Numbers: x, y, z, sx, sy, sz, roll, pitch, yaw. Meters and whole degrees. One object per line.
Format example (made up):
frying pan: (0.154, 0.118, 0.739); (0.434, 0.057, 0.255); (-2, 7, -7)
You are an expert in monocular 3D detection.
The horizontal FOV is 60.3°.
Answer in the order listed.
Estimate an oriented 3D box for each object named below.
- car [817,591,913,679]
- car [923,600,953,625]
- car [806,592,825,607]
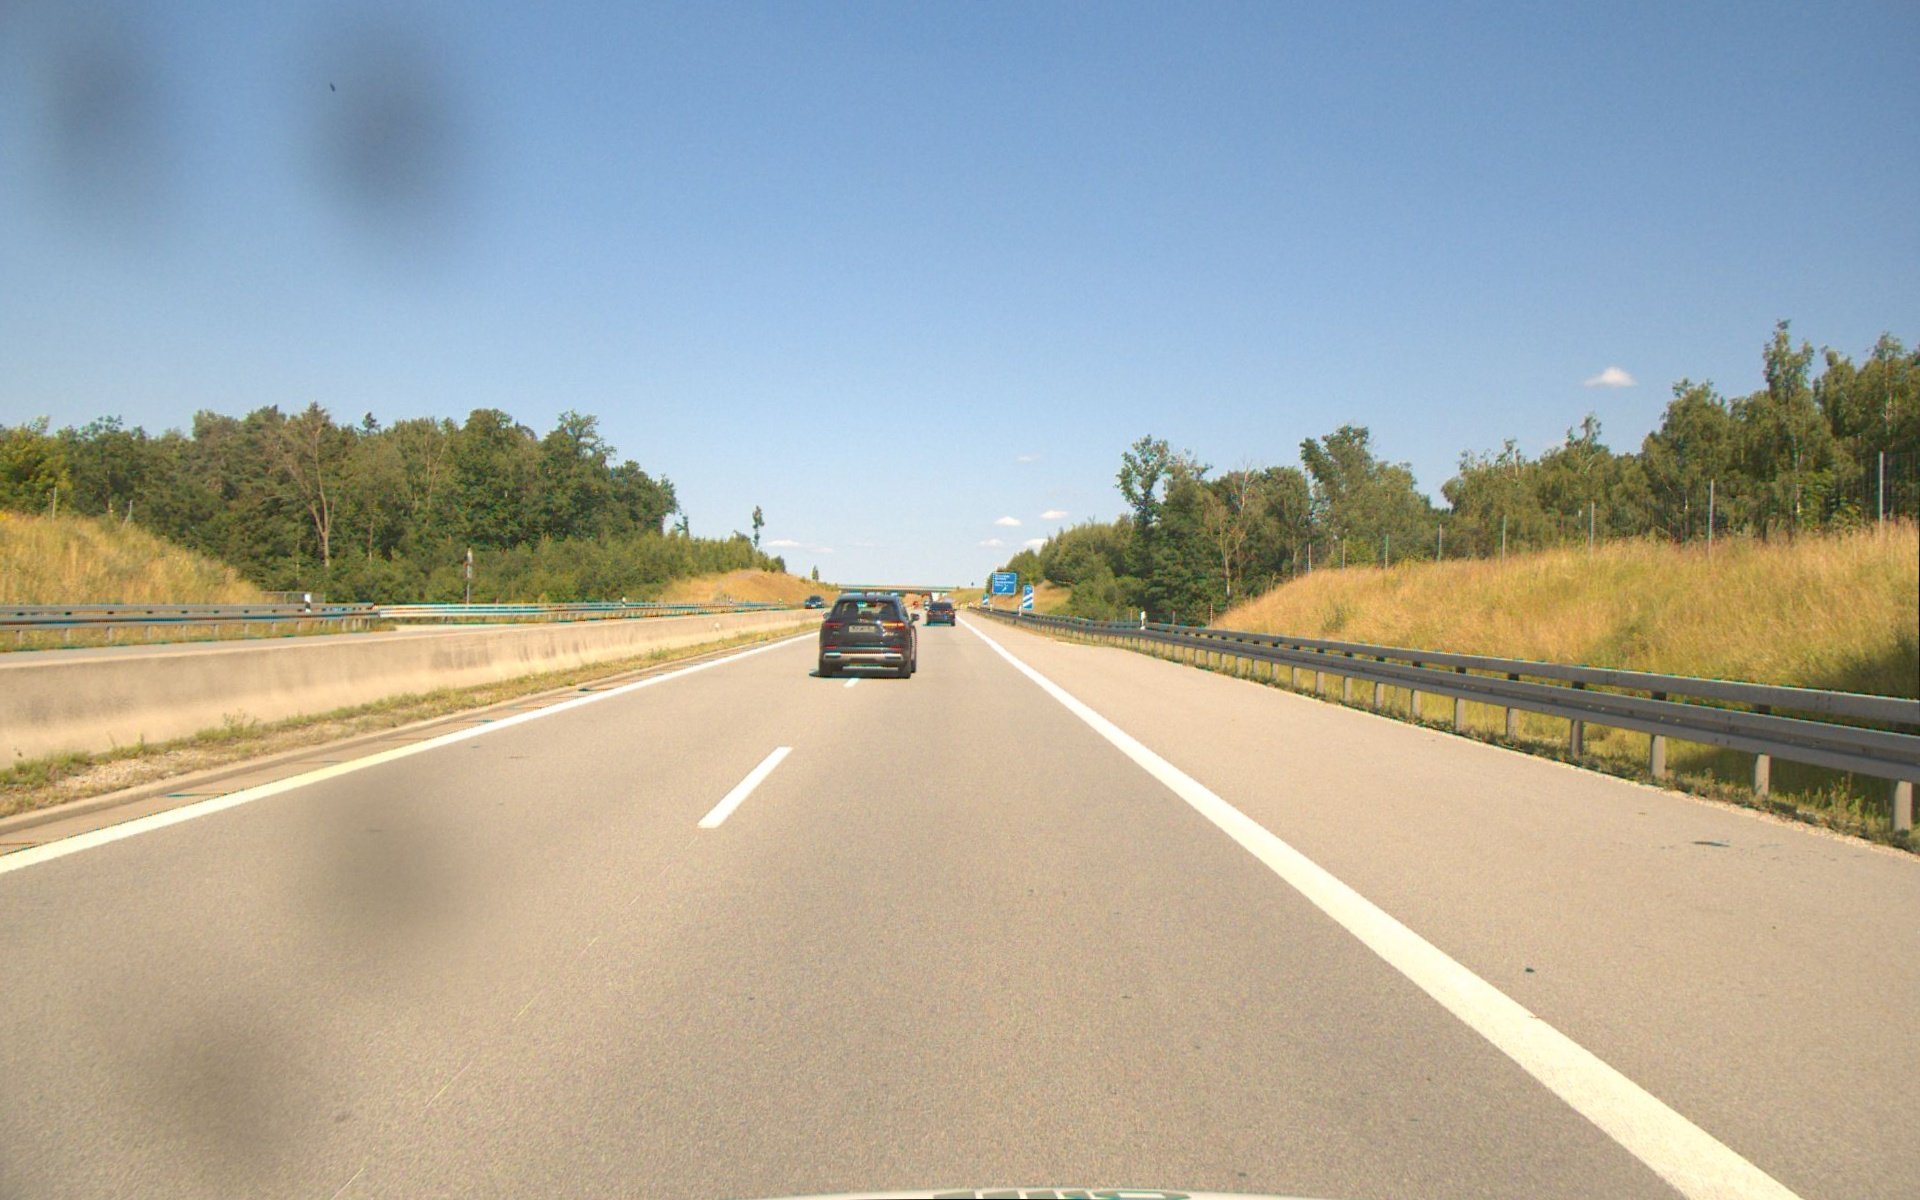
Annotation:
car: (-1.858, 0.651, 33.647); (1.687, 1.615, 5.221); (1, 0, -1)
car: (-1.290, 0.758, 99.060); (1.753, 1.398, 3.916); (1, 0, -1)
car: (-16.887, -0.094, 192.994); (1.862, 1.721, 4.268); (1, 0, -1)
